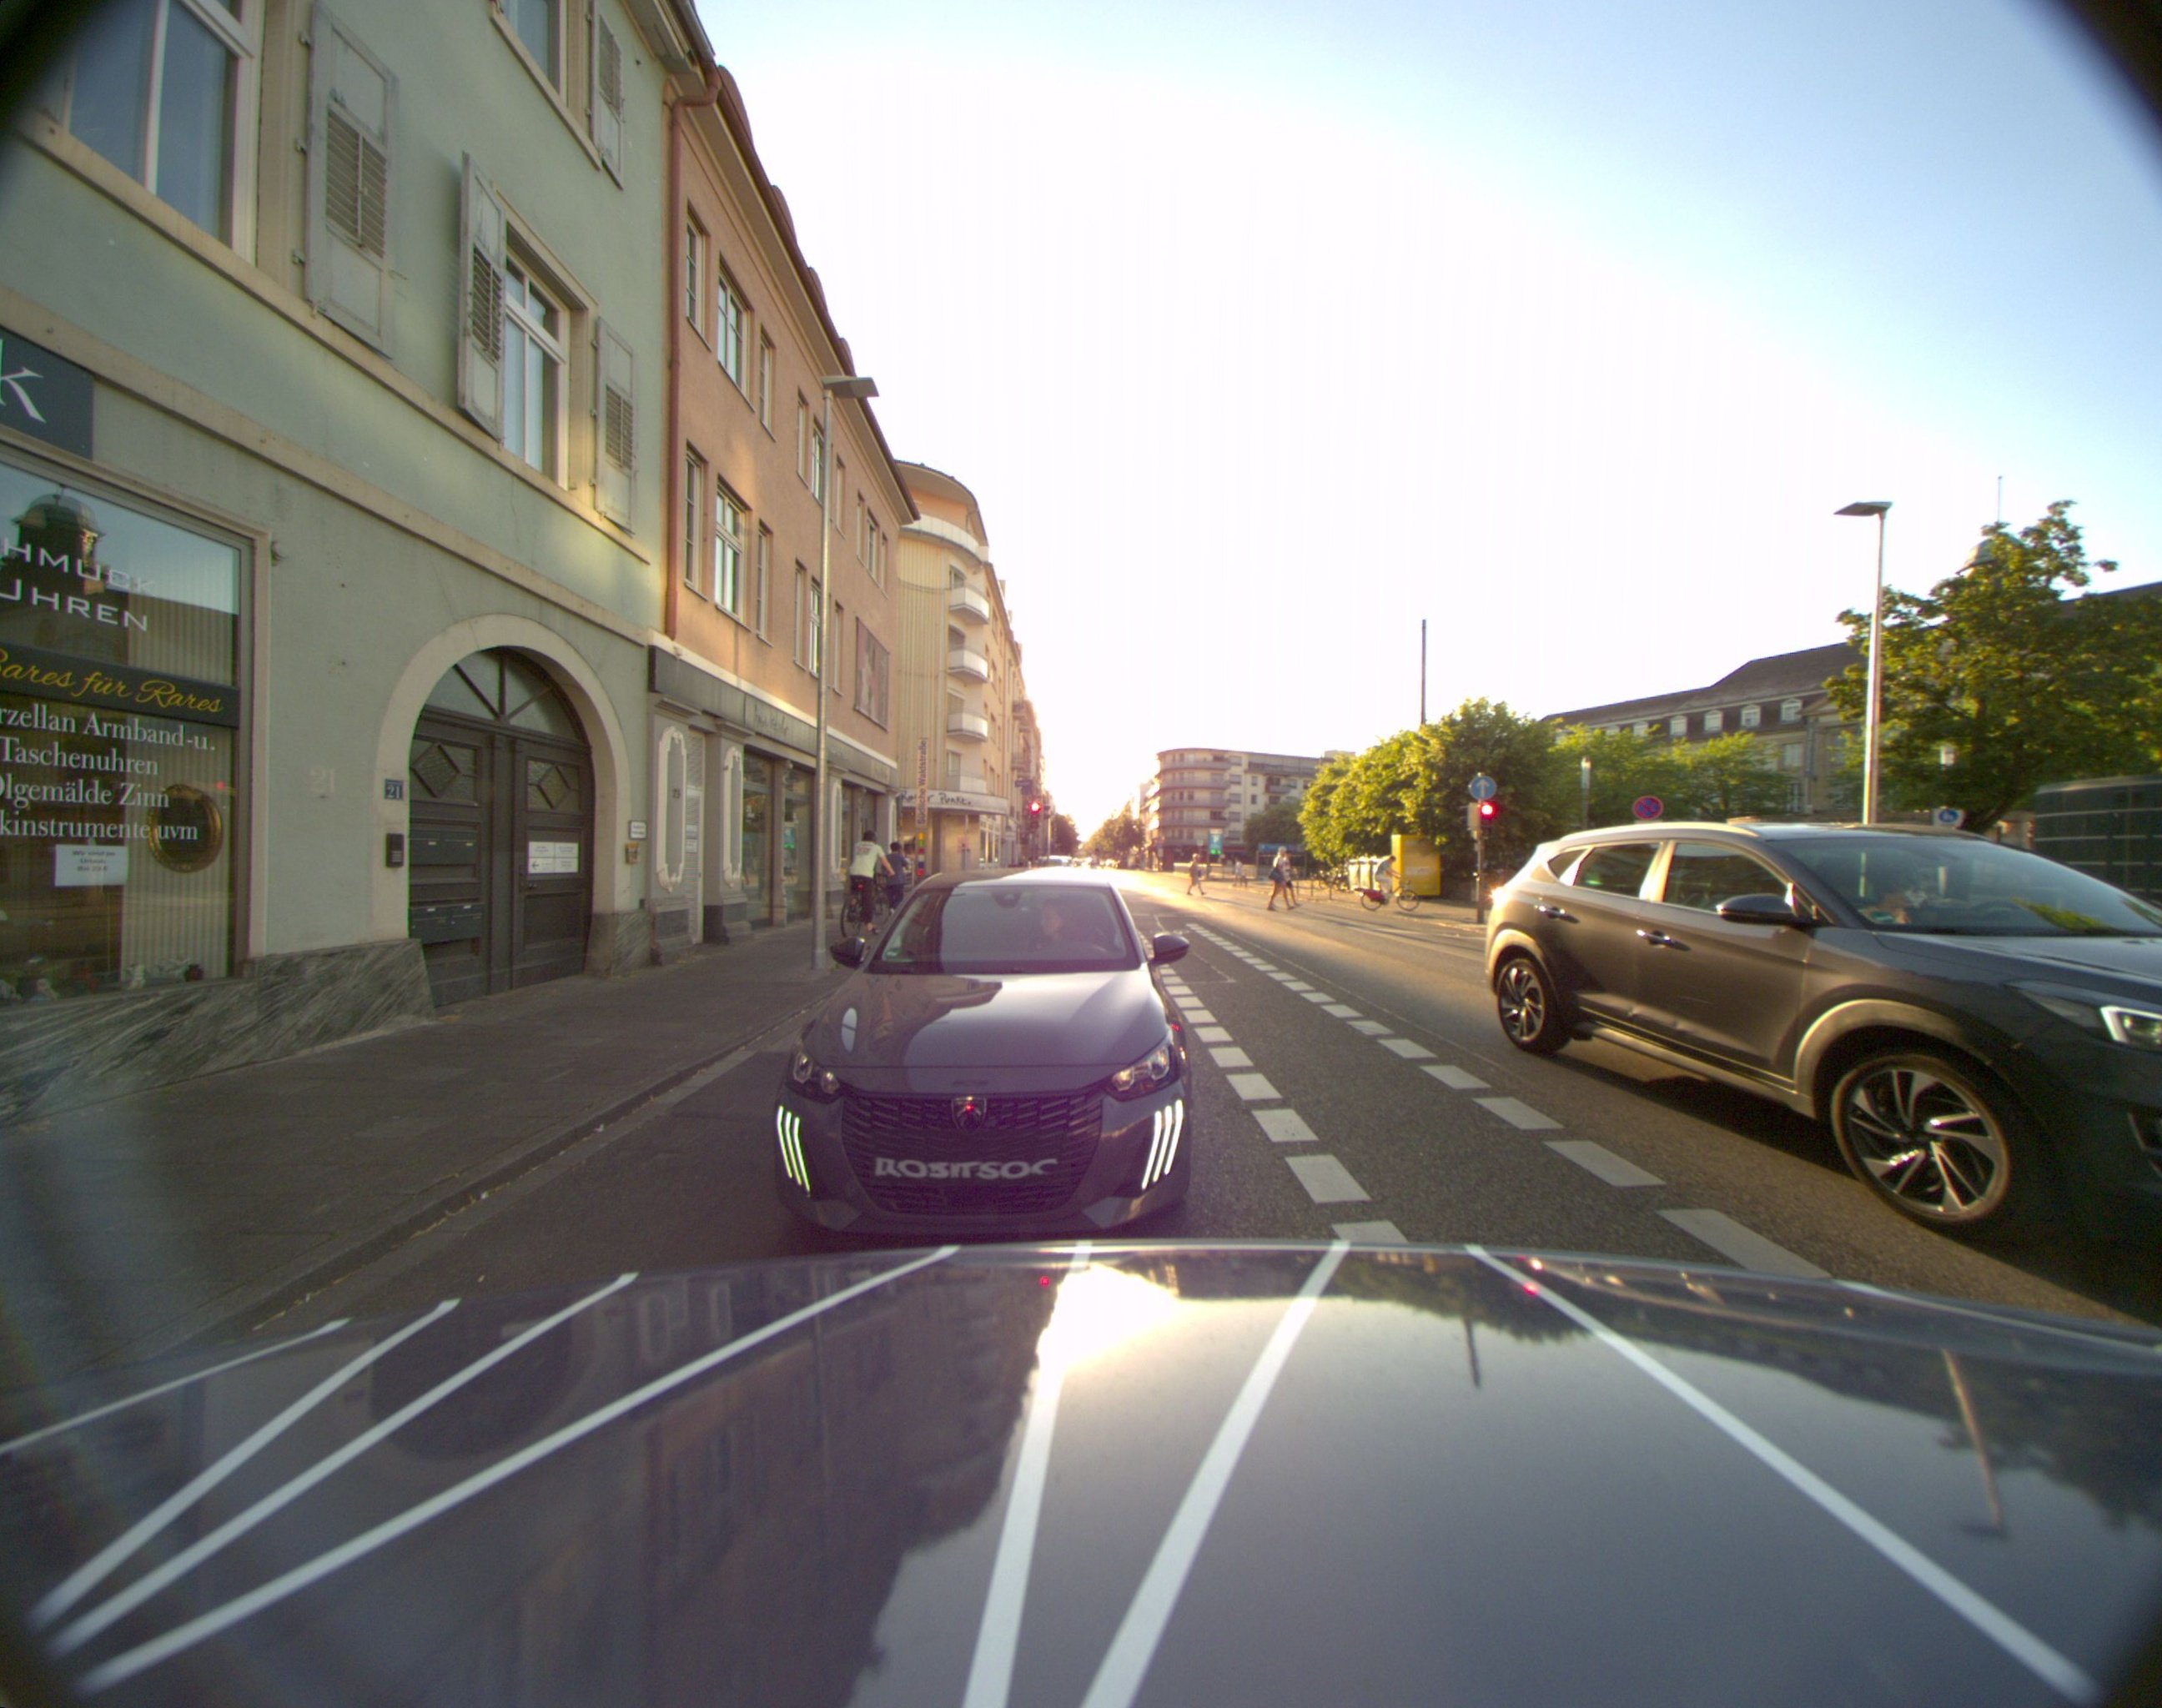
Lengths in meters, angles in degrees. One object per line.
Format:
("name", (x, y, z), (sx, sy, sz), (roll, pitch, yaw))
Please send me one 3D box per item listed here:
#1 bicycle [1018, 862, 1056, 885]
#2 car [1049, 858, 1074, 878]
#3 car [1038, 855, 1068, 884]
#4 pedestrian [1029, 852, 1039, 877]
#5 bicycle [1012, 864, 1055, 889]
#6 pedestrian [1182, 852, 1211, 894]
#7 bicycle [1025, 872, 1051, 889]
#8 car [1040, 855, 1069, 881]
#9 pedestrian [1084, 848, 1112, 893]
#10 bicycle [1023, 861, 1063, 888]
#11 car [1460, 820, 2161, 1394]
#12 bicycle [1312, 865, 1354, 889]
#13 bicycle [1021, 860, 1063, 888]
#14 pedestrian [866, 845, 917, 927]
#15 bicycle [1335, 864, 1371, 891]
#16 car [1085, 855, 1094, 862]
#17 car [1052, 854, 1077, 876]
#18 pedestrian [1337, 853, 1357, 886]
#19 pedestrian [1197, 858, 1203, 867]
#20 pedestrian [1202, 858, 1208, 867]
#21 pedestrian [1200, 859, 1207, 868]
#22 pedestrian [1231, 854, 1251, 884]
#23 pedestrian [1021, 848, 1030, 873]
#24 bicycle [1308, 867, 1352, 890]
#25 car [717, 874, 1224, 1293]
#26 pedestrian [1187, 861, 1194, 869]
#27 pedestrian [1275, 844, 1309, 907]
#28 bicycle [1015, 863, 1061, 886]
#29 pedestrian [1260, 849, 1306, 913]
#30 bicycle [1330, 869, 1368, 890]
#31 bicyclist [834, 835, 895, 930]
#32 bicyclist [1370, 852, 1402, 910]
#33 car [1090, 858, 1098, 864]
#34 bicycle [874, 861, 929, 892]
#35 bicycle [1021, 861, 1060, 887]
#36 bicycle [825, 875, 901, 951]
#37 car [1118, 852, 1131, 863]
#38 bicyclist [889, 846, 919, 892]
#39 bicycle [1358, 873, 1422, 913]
("bicycle", (-2.220, 0.994, 38.443), (1.851, 1.117, 0.594), (2, 1, -11))
("car", (-1.412, 1.009, 56.618), (1.738, 1.448, 4.610), (0, 0, 1))
("car", (-1.636, 0.875, 44.778), (1.702, 1.607, 4.682), (0, 0, -2))
("pedestrian", (-3.709, 0.832, 60.086), (0.763, 2.002, 0.851), (0, 0, 0))
("bicycle", (-2.140, 1.000, 34.175), (1.788, 1.057, 0.718), (2, 0, -11))
("pedestrian", (4.572, 0.738, 30.030), (0.789, 1.643, 0.782), (1, 1, 43))
("bicycle", (-1.886, 1.165, 33.366), (1.008, 0.677, 1.049), (1, 0, -9))
("car", (-1.742, 0.917, 51.055), (1.821, 1.611, 4.203), (0, 0, 0))
("pedestrian", (0.708, 0.679, 31.123), (0.872, 1.806, 0.824), (1, 0, -21))
("bicycle", (-1.810, 0.969, 35.860), (1.788, 1.166, 0.621), (2, 0, -11))
("car", (4.114, 0.775, 4.095), (1.877, 1.679, 4.449), (2, 0, 0))
("bicycle", (13.155, 1.189, 39.655), (2.031, 1.245, 0.548), (-1, 0, -4))
("bicycle", (-1.809, 0.922, 35.113), (1.849, 1.232, 0.639), (1, 0, -5))
("pedestrian", (-3.896, 0.650, 15.665), (0.825, 1.632, 0.871), (1, 0, -2))
("bicycle", (13.195, 1.130, 36.850), (1.590, 1.245, 0.445), (-1, 0, -2))
("car", (2.158, 1.127, 196.747), (1.878, 1.621, 4.177), (3, -1, -5))
("car", (-1.303, 0.886, 62.229), (1.877, 1.664, 4.430), (0, 0, 0))
("pedestrian", (15.069, 0.871, 43.046), (0.870, 1.806, 0.826), (1, 0, 9))
("pedestrian", (17.429, 1.242, 111.376), (0.732, 1.314, 0.889), (0, 0, -1))
("pedestrian", (18.180, 1.279, 111.372), (0.732, 1.314, 0.888), (0, 0, -2))
("pedestrian", (17.968, 1.419, 111.661), (0.689, 1.314, 0.819), (0, 0, -24))
("pedestrian", (9.767, 0.890, 46.394), (0.950, 1.806, 0.827), (1, 0, 28))
("pedestrian", (-4.400, 0.531, 60.182), (0.673, 2.002, 0.851), (0, 1, 0))
("bicycle", (12.462, 1.211, 38.003), (2.031, 1.128, 0.548), (-1, 0, -4))
("car", (-0.459, 0.924, 5.104), (1.908, 1.438, 4.449), (0, 0, -1))
("pedestrian", (15.815, 1.549, 109.832), (0.887, 1.185, 0.733), (0, 0, 9))
("pedestrian", (6.556, 0.656, 23.693), (0.939, 1.886, 0.827), (1, 0, 11))
("bicycle", (-2.126, 1.006, 37.444), (2.176, 1.069, 0.805), (2, 0, -7))
("pedestrian", (5.711, 0.744, 21.553), (1.099, 1.764, 0.826), (1, 0, 4))
("bicycle", (13.110, 1.234, 37.236), (1.678, 0.973, 0.548), (-1, 0, -4))
("bicyclist", (-3.538, 0.448, 12.468), (0.724, 1.499, 0.900), (1, 0, 1))
("bicyclist", (9.686, 0.838, 24.115), (0.834, 1.815, 0.832), (1, 0, 28))
("car", (3.062, 1.644, 181.268), (1.790, 1.458, 3.956), (2, 0, -1))
("bicycle", (-6.785, 0.835, 28.804), (1.917, 1.111, 0.706), (1, 0, 17))
("bicycle", (-1.946, 0.957, 36.492), (1.788, 1.166, 0.622), (2, 0, -11))
("bicycle", (-3.541, 0.926, 12.499), (0.692, 1.100, 1.896), (1, 0, 0))
("car", (7.731, 0.582, 135.687), (1.999, 1.805, 3.999), (1, 0, -2))
("bicyclist", (-6.699, 0.551, 28.780), (0.777, 1.714, 0.856), (1, 0, 15))
("bicycle", (9.770, 1.205, 24.043), (1.821, 1.179, 0.795), (1, 0, 25))
